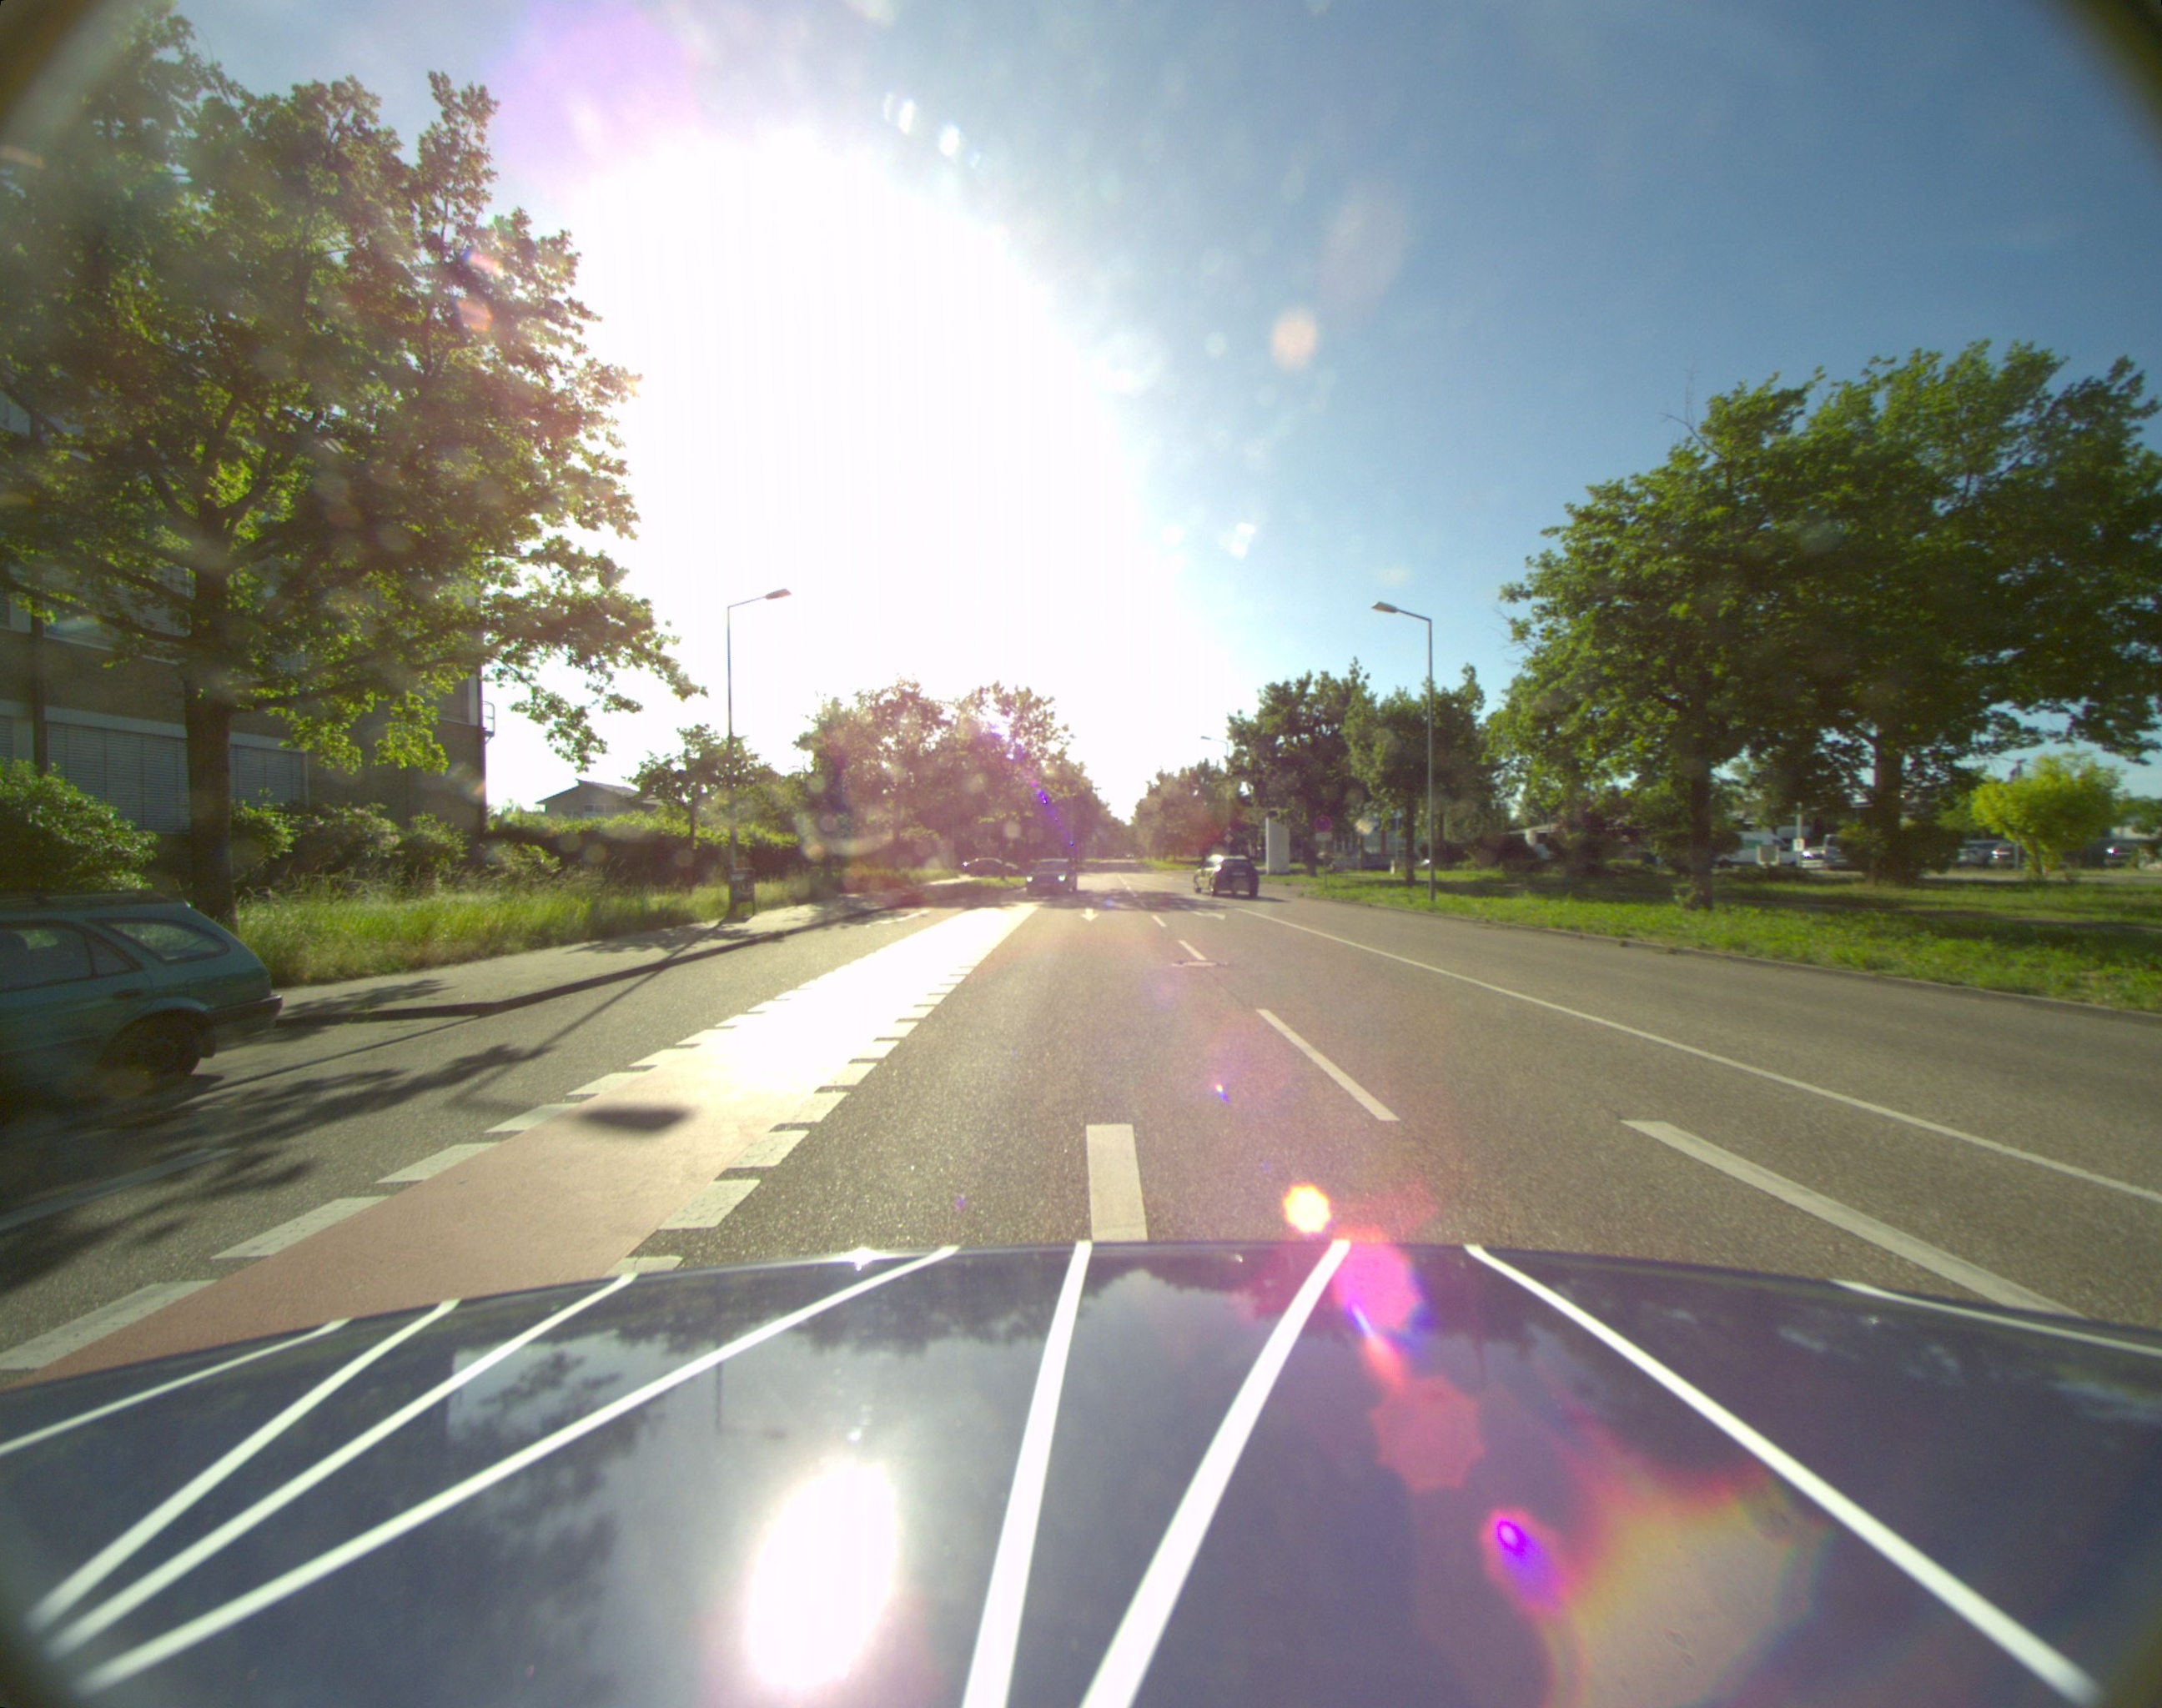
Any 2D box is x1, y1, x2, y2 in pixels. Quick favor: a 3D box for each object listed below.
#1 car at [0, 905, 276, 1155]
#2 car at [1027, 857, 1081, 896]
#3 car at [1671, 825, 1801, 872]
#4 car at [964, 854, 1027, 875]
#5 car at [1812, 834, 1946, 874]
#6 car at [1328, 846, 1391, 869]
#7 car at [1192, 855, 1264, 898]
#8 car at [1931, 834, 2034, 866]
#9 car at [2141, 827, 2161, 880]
[{"bbox_3d":[-7.527,1.130,4.208,1.706,1.460,4.141,-1,-1,0],"label":"car"},{"bbox_3d":[-1.098,0.911,32.599,1.652,1.460,3.943,-2,0,7],"label":"car"},{"bbox_3d":[39.896,-0.343,46.387,6.023,2.540,2.409,-2,1,-4],"label":"car"},{"bbox_3d":[-6.559,0.803,58.447,4.481,1.510,1.898,0,1,12],"label":"car"},{"bbox_3d":[40.058,-0.010,38.210,4.642,1.771,1.990,-2,1,0],"label":"car"},{"bbox_3d":[23.925,0.295,65.359,4.637,1.822,2.000,-2,1,0],"label":"car"},{"bbox_3d":[5.637,0.817,29.687,1.768,1.517,4.078,0,0,-4],"label":"car"},{"bbox_3d":[52.085,-0.213,43.949,3.860,1.661,1.762,-2,1,0],"label":"car"},{"bbox_3d":[33.885,-0.091,22.029,3.817,1.562,1.736,-2,-1,0],"label":"car"}]
